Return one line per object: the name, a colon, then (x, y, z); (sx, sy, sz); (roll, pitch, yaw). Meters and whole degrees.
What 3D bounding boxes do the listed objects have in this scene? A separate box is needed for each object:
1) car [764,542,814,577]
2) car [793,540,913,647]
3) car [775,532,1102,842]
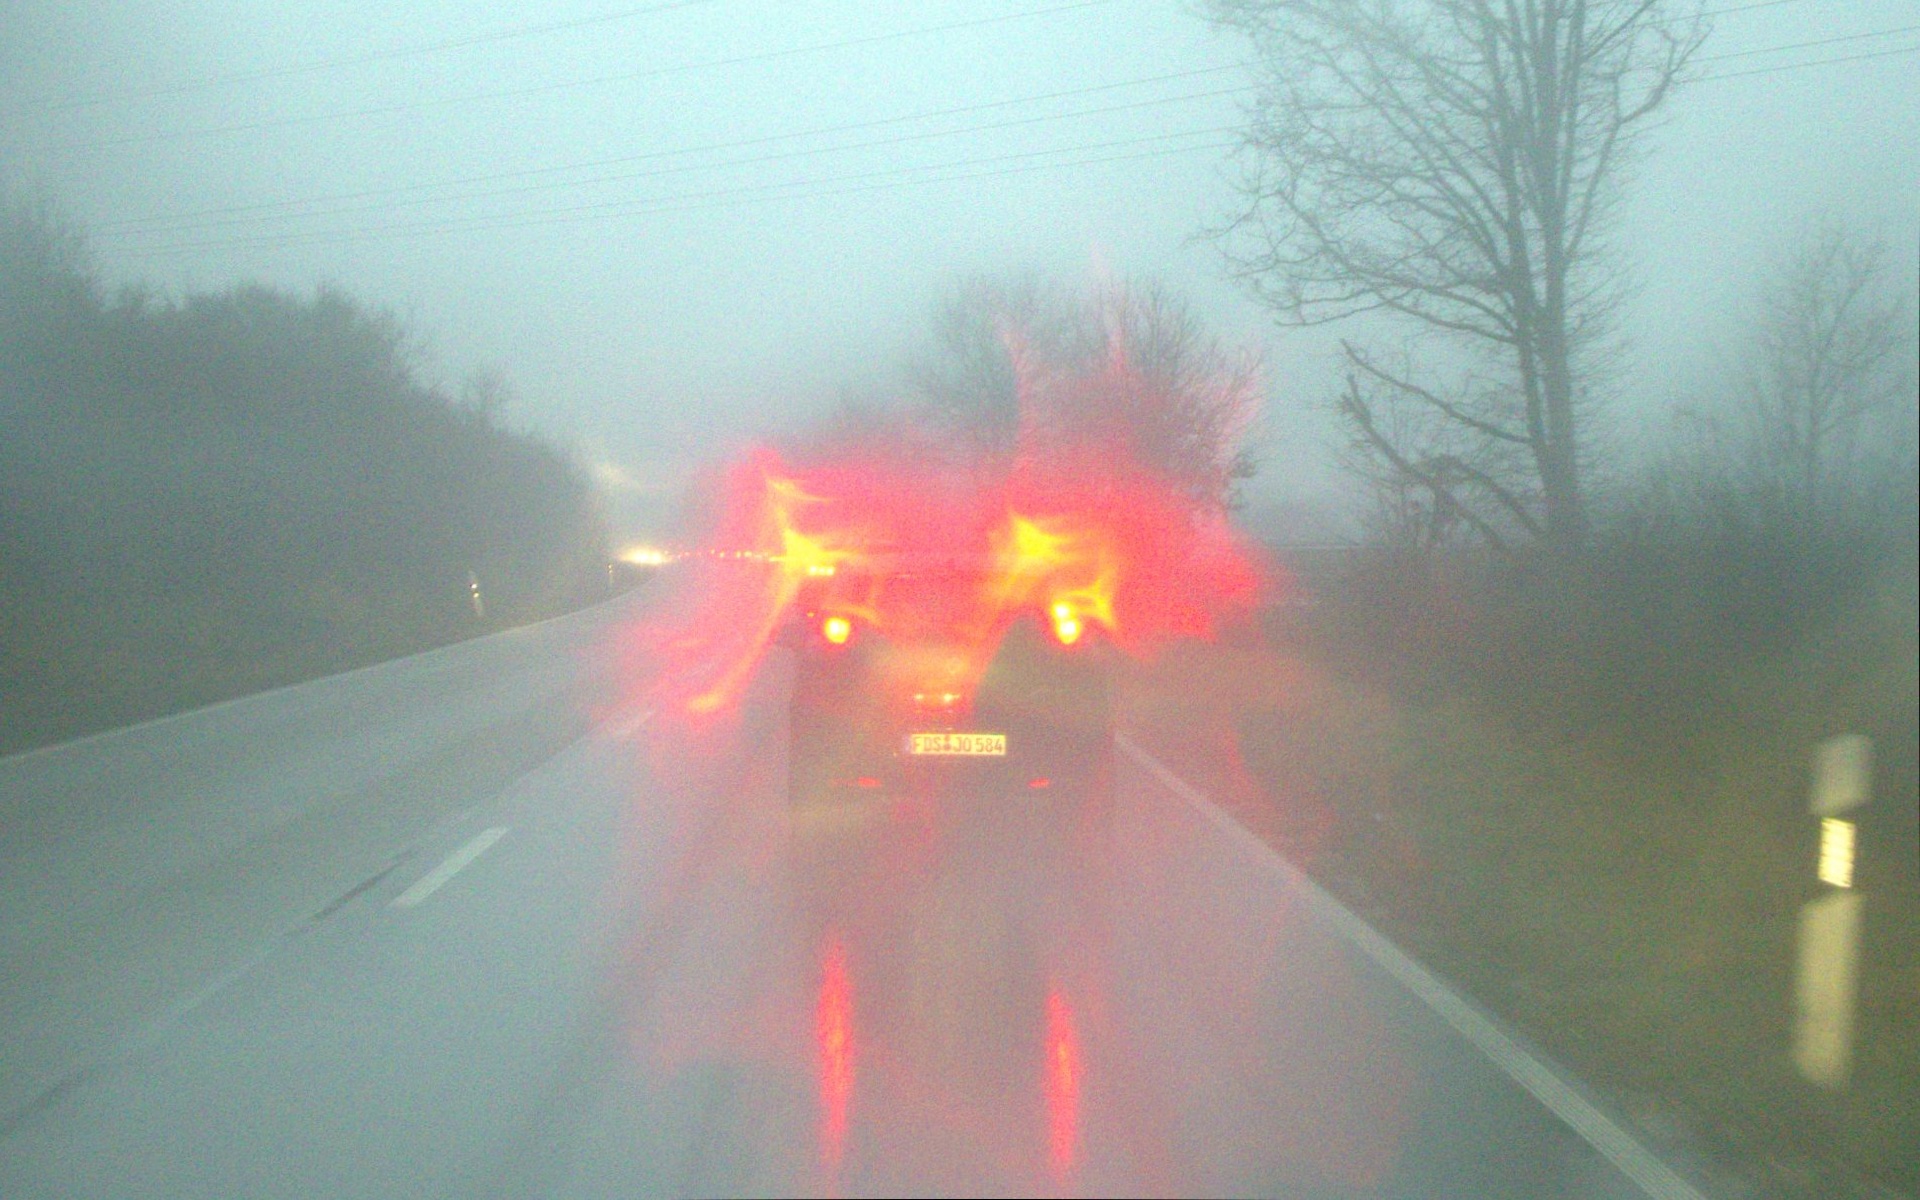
car: (-7.001, -1.678, 140.996); (1.547, 1.392, 3.869); (1, 1, 4)
car: (-1.440, -0.118, 47.320); (1.547, 1.392, 3.870); (1, 1, 0)
car: (-0.139, 0.395, 18.909); (1.602, 1.517, 3.870); (1, 1, -1)
